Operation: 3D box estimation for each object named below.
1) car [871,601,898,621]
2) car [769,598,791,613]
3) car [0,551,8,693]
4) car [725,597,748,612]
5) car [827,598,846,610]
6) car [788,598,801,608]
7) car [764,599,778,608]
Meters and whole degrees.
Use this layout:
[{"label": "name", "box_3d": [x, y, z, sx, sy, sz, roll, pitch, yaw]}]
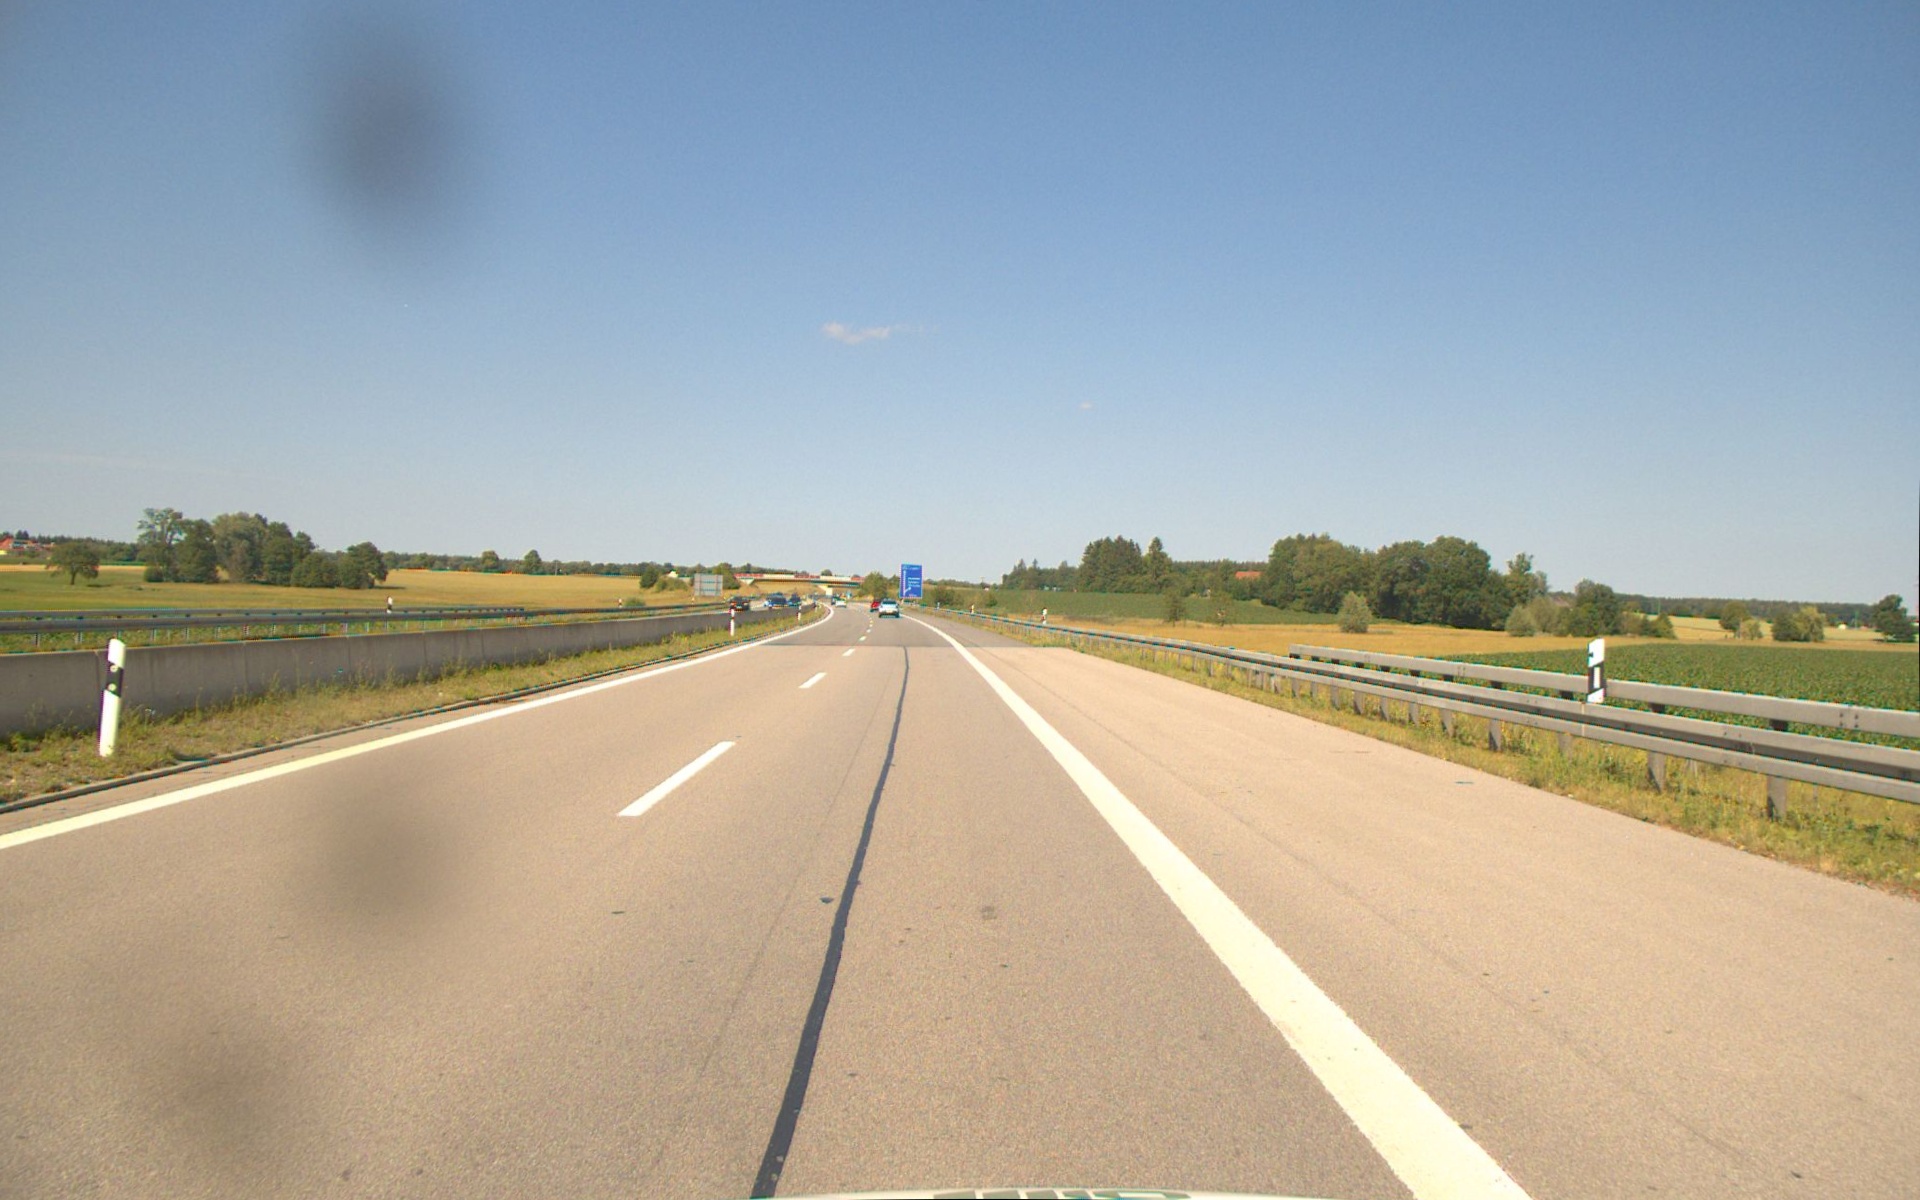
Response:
[{"label": "car", "box_3d": [-6.870, 0.971, 149.819, 1.956, 1.761, 4.860, 1, 0, -8]}, {"label": "car", "box_3d": [-17.586, 0.531, 161.694, 1.786, 1.388, 5.196, 0, 0, -2]}, {"label": "car", "box_3d": [-14.741, 0.283, 21.151, 1.953, 2.049, 5.612, 1, -1, -1]}, {"label": "car", "box_3d": [-21.451, 0.452, 158.769, 1.786, 1.388, 4.661, 0, 0, -2]}, {"label": "car", "box_3d": [-19.104, 0.550, 255.874, 1.962, 1.761, 4.845, 1, 0, -18]}, {"label": "car", "box_3d": [-23.549, 0.359, 234.972, 1.787, 1.388, 4.655, 0, 0, -5]}, {"label": "car", "box_3d": [-27.758, 0.518, 242.895, 1.787, 1.388, 5.291, 0, 0, -4]}]
